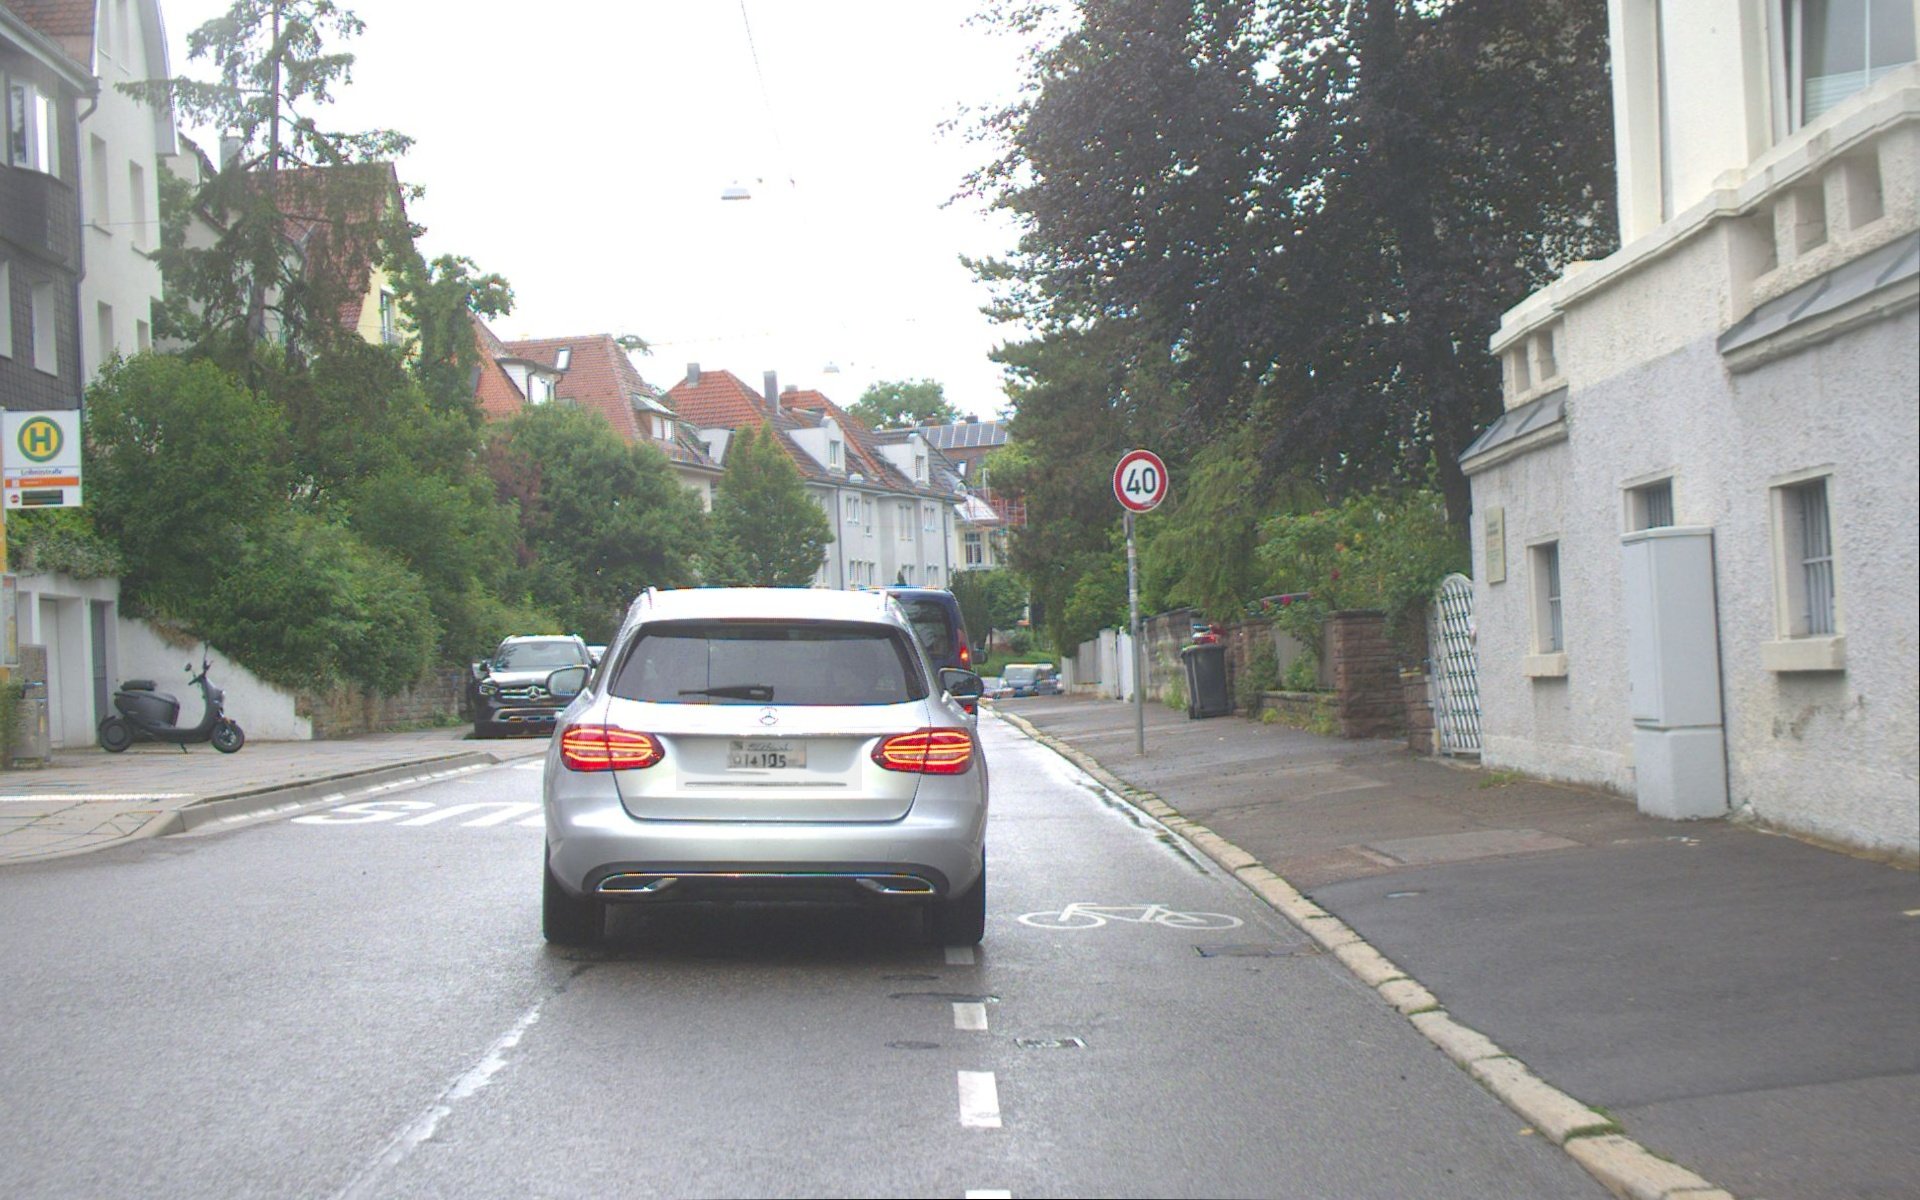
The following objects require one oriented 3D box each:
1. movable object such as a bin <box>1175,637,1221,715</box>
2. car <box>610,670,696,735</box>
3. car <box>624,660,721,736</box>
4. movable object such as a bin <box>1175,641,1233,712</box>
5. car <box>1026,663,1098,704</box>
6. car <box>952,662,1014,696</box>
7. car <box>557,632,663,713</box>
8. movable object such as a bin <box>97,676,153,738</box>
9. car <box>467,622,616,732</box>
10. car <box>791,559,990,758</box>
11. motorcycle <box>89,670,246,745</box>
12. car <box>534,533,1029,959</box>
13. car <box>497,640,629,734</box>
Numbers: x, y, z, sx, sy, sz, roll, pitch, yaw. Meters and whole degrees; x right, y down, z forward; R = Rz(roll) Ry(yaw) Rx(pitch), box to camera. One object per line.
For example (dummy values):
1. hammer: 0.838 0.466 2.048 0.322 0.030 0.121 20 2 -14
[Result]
1. movable object such as a bin: 3.007 0.959 43.447 0.494 0.952 0.503 -2 0 -3
2. car: -7.246 2.417 81.413 1.694 1.442 3.813 -2 -1 0
3. car: -7.359 2.487 88.527 1.993 1.872 5.356 -1 -1 0
4. movable object such as a bin: 3.041 0.955 42.849 0.651 0.853 0.503 -2 0 -3
5. car: 4.834 3.938 162.426 1.995 1.683 4.672 -1 1 20
6. car: 1.024 3.424 149.296 1.644 1.412 4.609 -1 -1 14
7. car: -7.003 1.434 69.125 1.756 1.442 4.416 -2 1 -1
8. movable object such as a bin: -12.405 1.580 51.073 0.488 0.886 0.620 -1 1 45
9. car: -6.565 1.203 54.372 1.893 1.617 4.379 -1 -1 -1
10. car: -0.661 0.634 35.426 1.843 1.897 3.999 -1 -2 1
11. motorcycle: -9.793 1.327 42.494 1.794 0.900 0.603 0 -1 -1
12. car: -0.778 0.574 14.785 1.816 1.551 4.000 -1 -1 -3
13. car: -6.825 1.472 59.408 1.893 1.442 3.814 -2 1 -1
